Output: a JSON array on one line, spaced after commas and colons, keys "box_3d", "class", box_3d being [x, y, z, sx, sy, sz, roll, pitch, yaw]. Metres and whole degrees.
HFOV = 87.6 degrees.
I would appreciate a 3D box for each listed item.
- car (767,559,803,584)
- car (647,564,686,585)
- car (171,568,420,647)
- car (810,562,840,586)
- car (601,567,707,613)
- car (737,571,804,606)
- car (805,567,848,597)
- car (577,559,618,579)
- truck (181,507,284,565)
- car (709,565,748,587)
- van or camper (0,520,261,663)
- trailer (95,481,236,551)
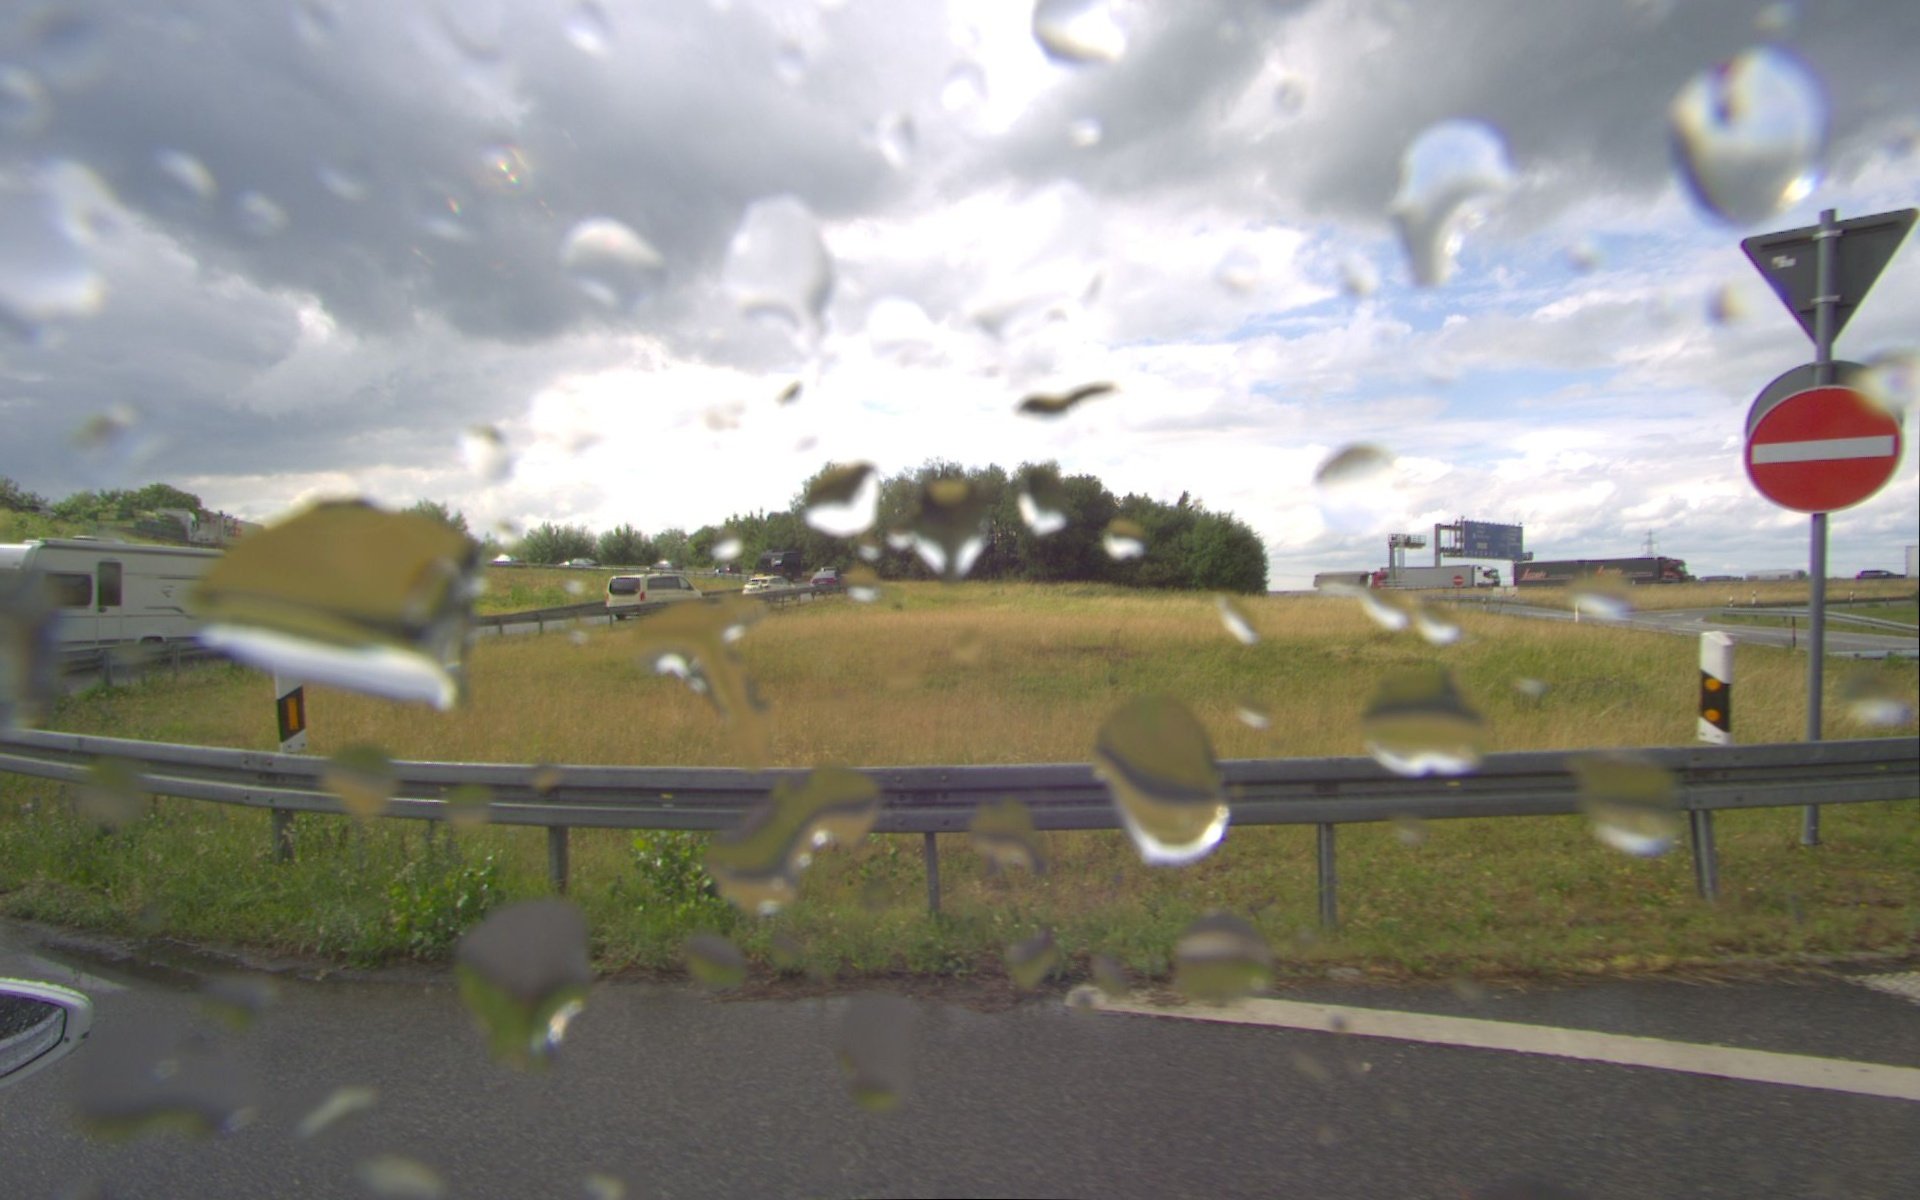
[{"box_3d": [-15.971, -2.575, 91.330, 1.972, 2.039, 3.979, 1, -1, -30], "class": "car"}, {"box_3d": [-31.463, -2.725, 107.208, 3.945, 2.042, 1.987, 4, 3, 36], "class": "car"}, {"box_3d": [-18.351, 0.192, 28.104, 2.390, 1.951, 5.755, 1, 0, 13], "class": "car"}, {"box_3d": [-11.025, -2.103, 81.730, 1.636, 1.808, 5.046, -1, 1, -17], "class": "car"}, {"box_3d": [-13.162, -0.434, 43.484, 1.963, 1.886, 5.050, 0, 1, 16], "class": "car"}, {"box_3d": [-10.655, -0.640, 56.645, 1.962, 1.886, 5.052, 0, 1, 12], "class": "car"}, {"box_3d": [-8.860, -1.169, 66.708, 1.961, 1.886, 5.056, 0, 1, 3], "class": "car"}, {"box_3d": [-39.867, -3.416, 110.100, 3.930, 2.039, 1.996, 0, -1, 20], "class": "car"}, {"box_3d": [-77.956, -6.633, 107.969, 4.402, 4.560, 19.320, 1, -2, -22], "class": "truck"}, {"box_3d": [-23.218, -2.385, 100.461, 3.956, 2.041, 1.982, 0, 1, 43], "class": "car"}, {"box_3d": [-19.196, -0.206, 22.522, 2.391, 2.766, 6.000, 2, 0, 5], "class": "van or camper"}, {"box_3d": [-70.667, -7.203, 89.944, 4.355, 4.006, 20.160, 1, -2, -22], "class": "trailer"}]
